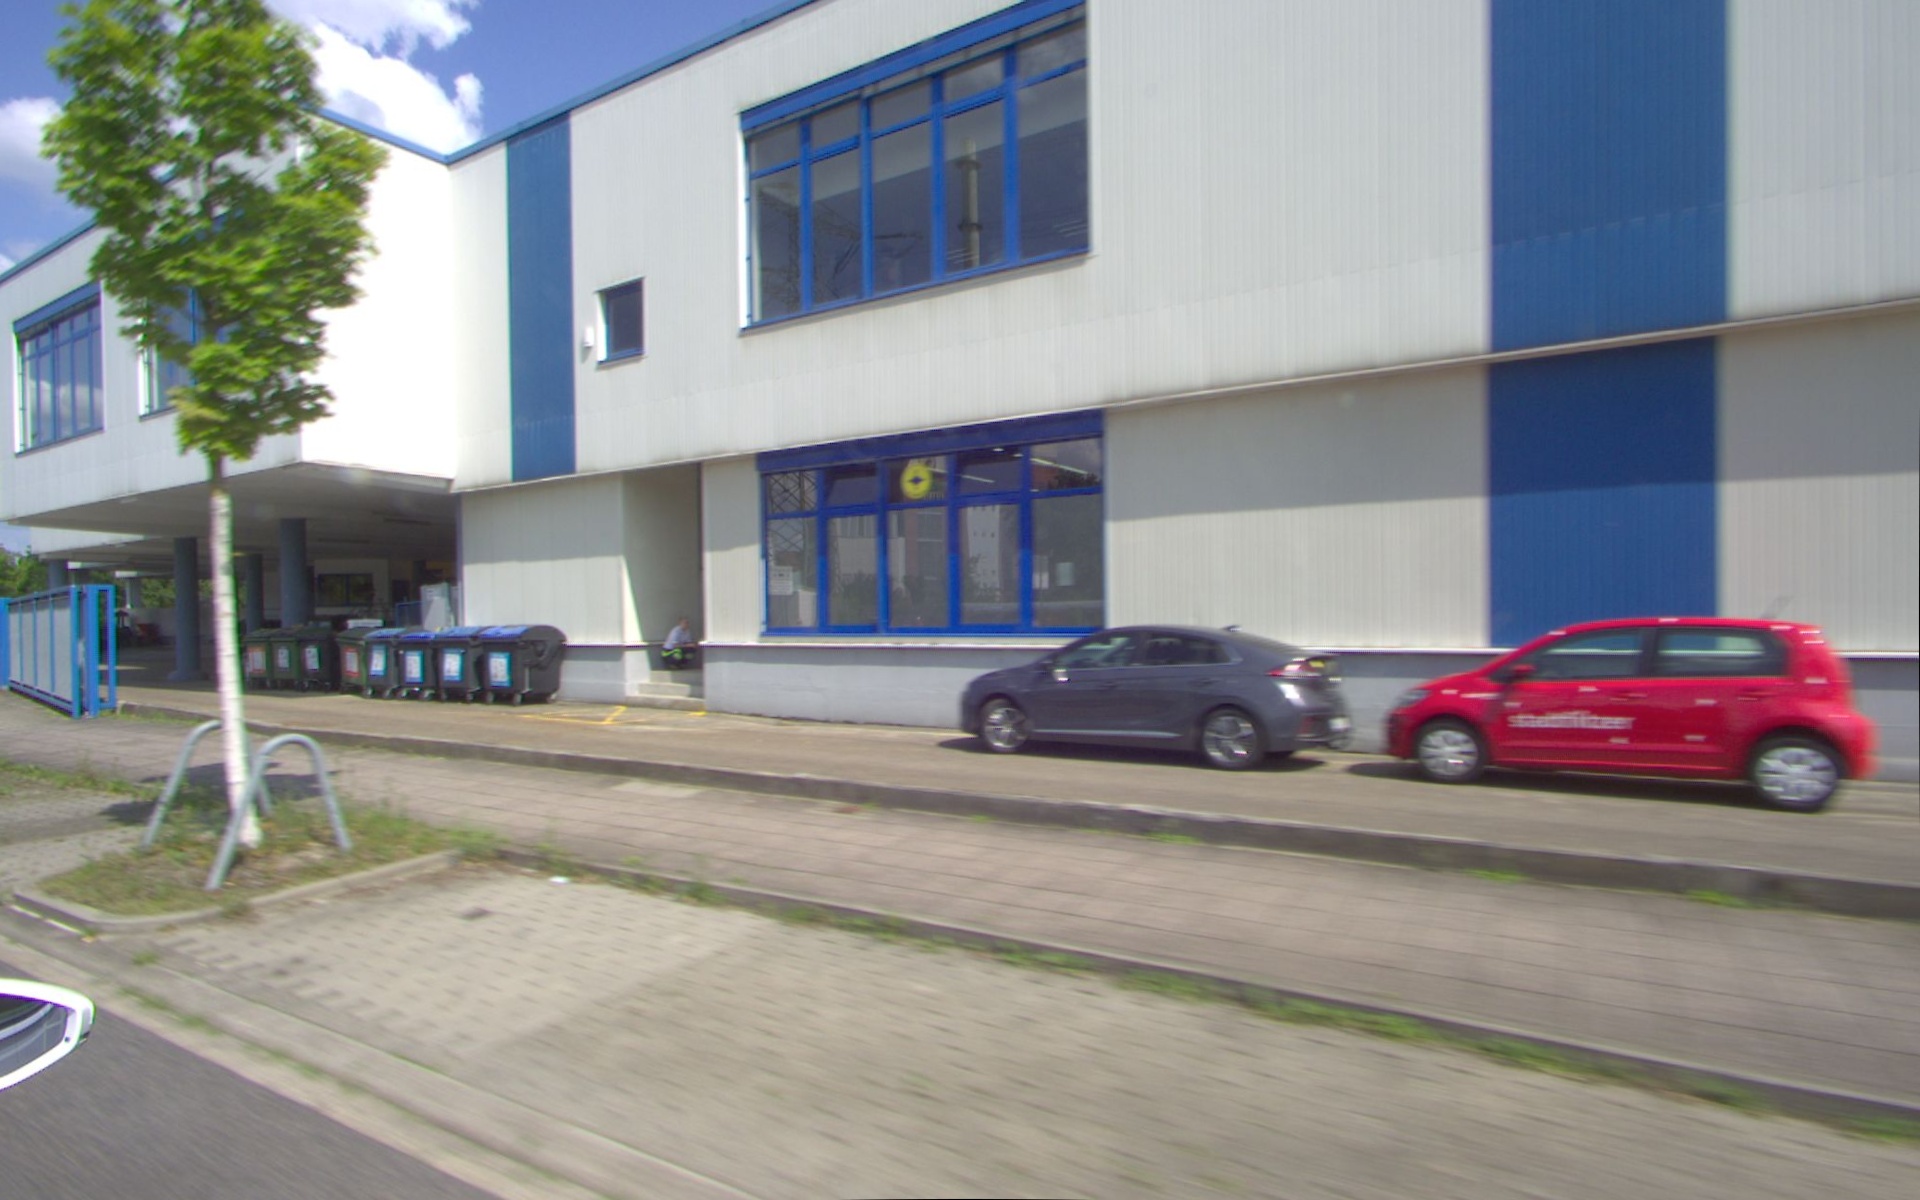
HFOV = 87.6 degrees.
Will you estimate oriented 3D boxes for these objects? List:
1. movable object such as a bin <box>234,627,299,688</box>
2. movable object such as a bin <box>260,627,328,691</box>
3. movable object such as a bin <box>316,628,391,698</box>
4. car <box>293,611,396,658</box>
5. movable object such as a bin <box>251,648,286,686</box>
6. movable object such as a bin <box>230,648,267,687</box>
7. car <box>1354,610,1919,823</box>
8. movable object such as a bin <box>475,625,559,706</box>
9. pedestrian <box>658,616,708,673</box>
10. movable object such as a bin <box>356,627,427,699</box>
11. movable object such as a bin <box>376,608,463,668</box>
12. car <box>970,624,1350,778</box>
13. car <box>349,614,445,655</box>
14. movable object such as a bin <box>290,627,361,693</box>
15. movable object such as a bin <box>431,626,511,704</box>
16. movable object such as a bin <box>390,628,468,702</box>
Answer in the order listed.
[{"bbox_3d":[-16.563,1.357,23.914,1.337,1.432,0.803,-1,-1,30],"label":"movable object such as a bin"},{"bbox_3d":[-15.407,1.338,23.159,1.337,1.432,0.803,-1,-1,30],"label":"movable object such as a bin"},{"bbox_3d":[-12.992,1.328,21.445,1.406,1.432,0.803,-1,-1,30],"label":"movable object such as a bin"},{"bbox_3d":[-25.189,1.366,41.147,1.725,1.804,4.105,0,-1,0],"label":"car"},{"bbox_3d":[-17.196,1.668,24.897,0.411,0.922,0.597,-1,-1,30],"label":"movable object such as a bin"},{"bbox_3d":[-17.974,1.688,25.293,0.536,0.955,0.587,-1,-1,30],"label":"movable object such as a bin"},{"bbox_3d":[5.591,0.877,8.762,3.762,1.510,1.570,-1,-1,32],"label":"car"},{"bbox_3d":[-8.183,1.193,18.494,1.338,1.432,0.803,-1,-1,31],"label":"movable object such as a bin"},{"bbox_3d":[-5.118,0.817,18.498,0.700,1.026,0.563,-1,-3,32],"label":"pedestrian"},{"bbox_3d":[-11.758,1.290,20.724,1.157,1.432,0.803,-1,-1,30],"label":"movable object such as a bin"},{"bbox_3d":[-20.219,1.388,37.578,1.406,2.112,3.436,0,-1,0],"label":"movable object such as a bin"},{"bbox_3d":[2.110,0.995,10.932,3.800,1.421,1.493,-1,-1,32],"label":"car"},{"bbox_3d":[-22.780,1.382,40.665,1.807,1.566,3.664,0,-1,0],"label":"car"},{"bbox_3d":[-14.210,1.316,22.424,1.384,1.432,0.803,-1,-1,30],"label":"movable object such as a bin"},{"bbox_3d":[-9.397,1.224,19.246,1.338,1.432,0.803,-1,-1,31],"label":"movable object such as a bin"},{"bbox_3d":[-10.639,1.276,20.059,1.338,1.432,0.803,-1,-1,31],"label":"movable object such as a bin"}]
